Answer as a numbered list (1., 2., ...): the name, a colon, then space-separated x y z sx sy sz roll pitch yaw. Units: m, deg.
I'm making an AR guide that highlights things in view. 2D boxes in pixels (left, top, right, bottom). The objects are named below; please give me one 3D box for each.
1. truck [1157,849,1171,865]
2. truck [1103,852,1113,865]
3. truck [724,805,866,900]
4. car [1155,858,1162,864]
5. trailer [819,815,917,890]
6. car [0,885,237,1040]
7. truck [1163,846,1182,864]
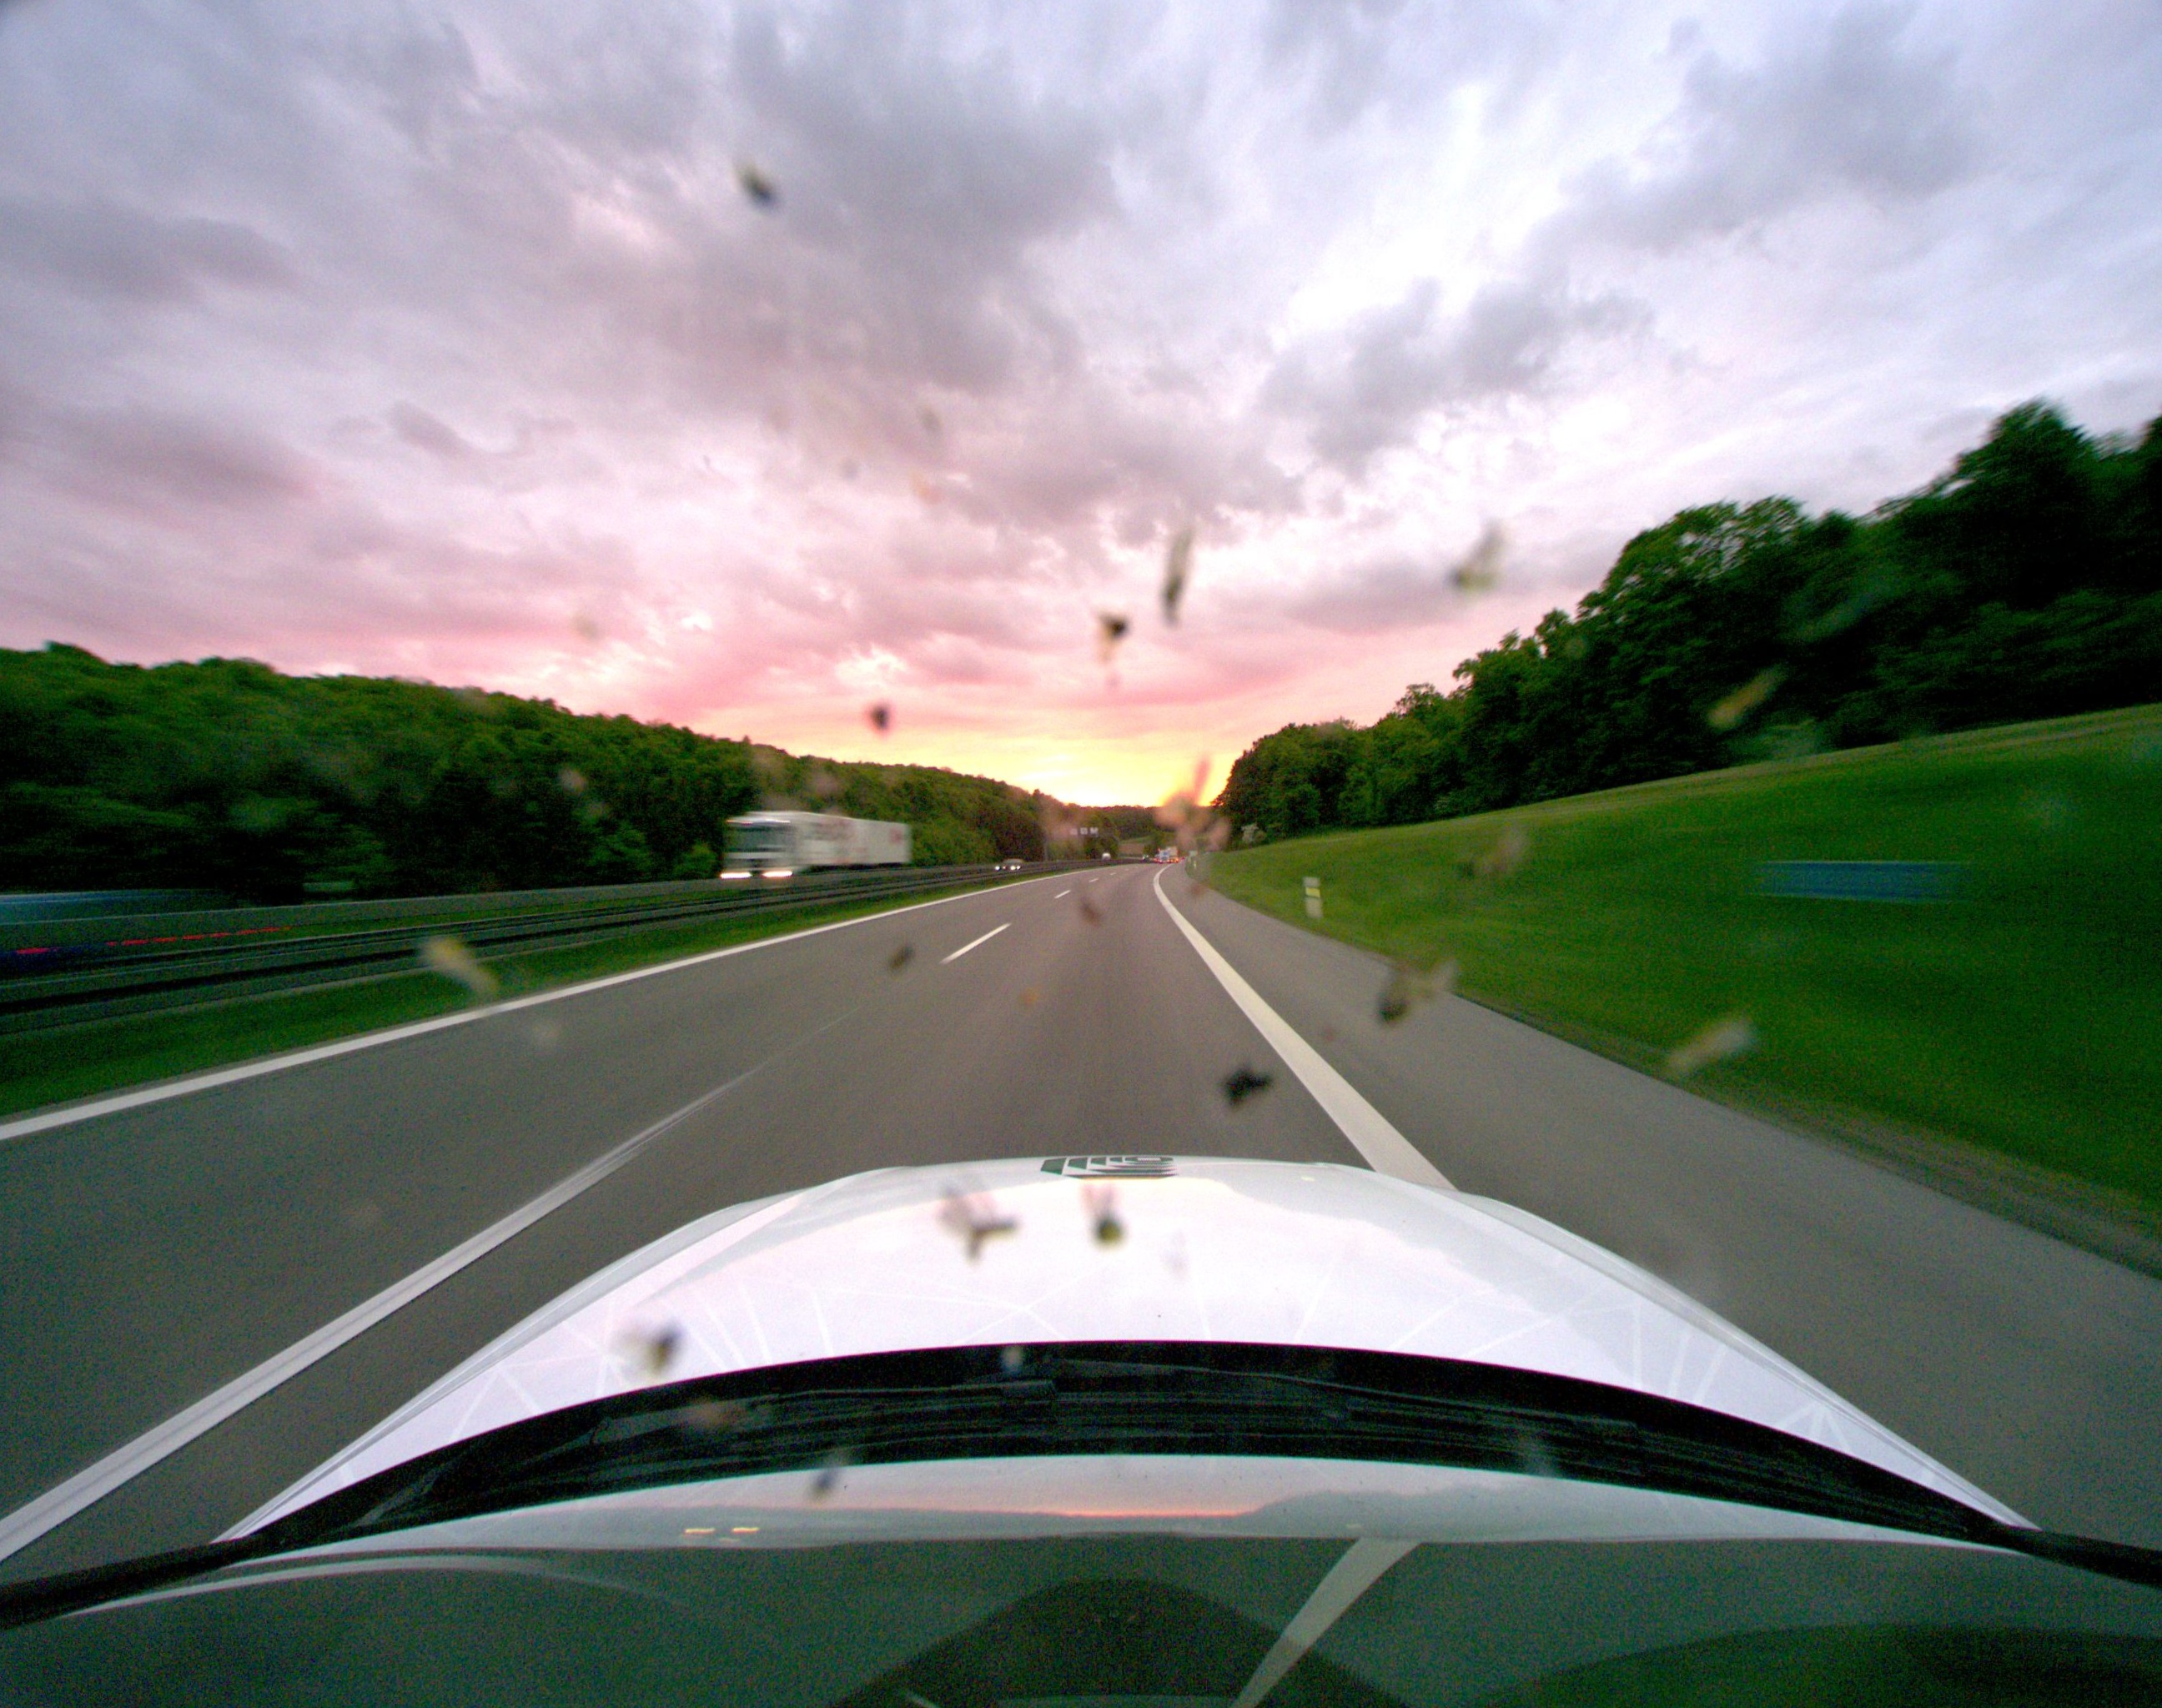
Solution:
1. truck: 15.740 0.532 154.439 2.263 2.664 5.250 -3 2 9
2. truck: 6.761 1.158 205.725 1.983 3.067 5.606 -1 0 7
3. truck: -14.359 -0.057 42.132 2.850 4.281 10.082 -1 0 6
4. car: 21.401 1.966 224.917 1.983 1.517 4.007 -2 0 6
5. trailer: -13.310 -0.070 51.837 2.817 4.317 9.309 -1 0 6
6. car: -12.224 1.222 8.578 1.648 1.550 4.673 -3 0 1
7. truck: 23.369 0.128 207.700 3.935 4.286 14.360 -2 0 9
